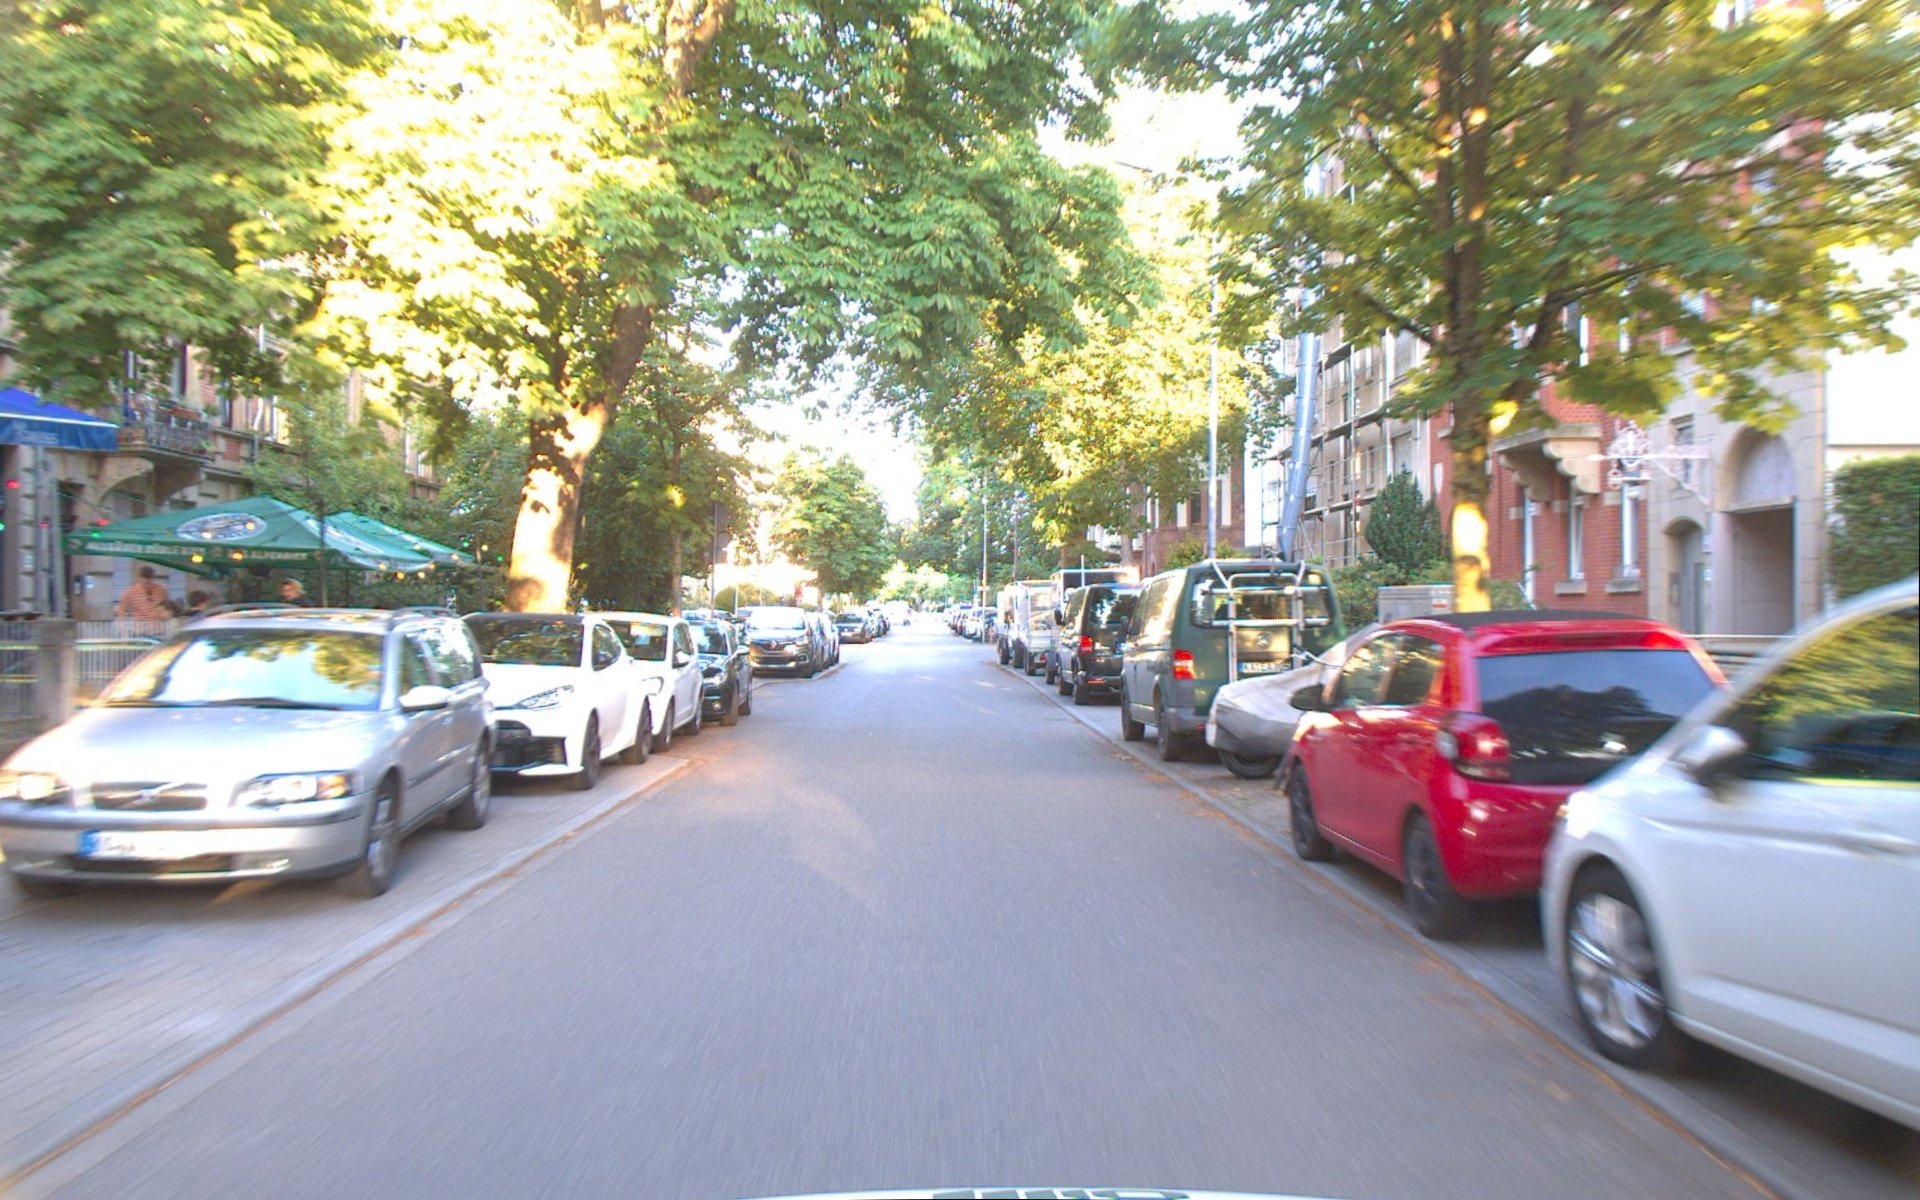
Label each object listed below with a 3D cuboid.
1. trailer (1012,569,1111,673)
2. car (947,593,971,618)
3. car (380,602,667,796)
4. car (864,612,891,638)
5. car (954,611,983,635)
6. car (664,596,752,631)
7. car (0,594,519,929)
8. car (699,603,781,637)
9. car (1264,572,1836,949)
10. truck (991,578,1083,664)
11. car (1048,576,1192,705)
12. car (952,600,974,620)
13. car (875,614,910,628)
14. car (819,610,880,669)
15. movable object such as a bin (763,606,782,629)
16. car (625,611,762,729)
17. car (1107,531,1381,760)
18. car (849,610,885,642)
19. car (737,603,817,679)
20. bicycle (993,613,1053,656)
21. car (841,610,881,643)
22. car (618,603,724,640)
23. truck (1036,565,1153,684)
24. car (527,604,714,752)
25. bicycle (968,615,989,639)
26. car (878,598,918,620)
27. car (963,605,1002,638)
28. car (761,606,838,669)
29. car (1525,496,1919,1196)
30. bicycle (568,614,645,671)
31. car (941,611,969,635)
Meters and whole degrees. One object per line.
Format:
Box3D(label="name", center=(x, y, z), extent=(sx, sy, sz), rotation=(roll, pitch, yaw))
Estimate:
Box3D(label="trailer", center=(2.427, 0.486, 40.554), extent=(1.915, 2.335, 4.643), rotation=(-2, 0, -2))
Box3D(label="car", center=(-0.108, 0.493, 133.982), extent=(1.647, 1.975, 3.877), rotation=(0, -1, -4))
Box3D(label="car", center=(-3.806, 0.791, 15.057), extent=(1.571, 1.460, 3.884), rotation=(3, 0, -1))
Box3D(label="car", center=(-5.341, 1.597, 107.256), extent=(1.681, 1.594, 3.787), rotation=(0, 0, -1))
Box3D(label="car", center=(0.533, 1.439, 105.318), extent=(1.653, 1.466, 4.208), rotation=(-2, 0, -2))
Box3D(label="car", center=(-11.207, 0.577, 73.628), extent=(3.487, 1.472, 1.819), rotation=(1, 1, 7))
Box3D(label="car", center=(-3.888, 0.728, 9.710), extent=(1.805, 1.436, 4.593), rotation=(3, 0, -7))
Box3D(label="car", center=(-11.384, 1.038, 85.750), extent=(4.011, 1.554, 1.708), rotation=(3, -1, -3))
Box3D(label="car", center=(2.855, 0.667, 8.884), extent=(1.630, 1.526, 3.693), rotation=(-2, 0, -1))
Box3D(label="truck", center=(2.119, 0.606, 47.662), extent=(1.938, 2.284, 6.771), rotation=(0, -1, -3))
Box3D(label="car", center=(2.678, 0.638, 28.755), extent=(1.802, 1.976, 4.611), rotation=(-2, 0, -2))
Box3D(label="car", center=(0.245, 0.776, 130.062), extent=(1.508, 1.548, 3.429), rotation=(0, -1, -4))
Box3D(label="car", center=(-7.092, 2.200, 173.260), extent=(3.548, 1.487, 1.605), rotation=(0, 0, -5))
Box3D(label="car", center=(-3.306, 1.133, 48.805), extent=(1.657, 1.528, 4.733), rotation=(3, 0, -5))
Box3D(label="movable object such as a bin", center=(-11.511, 1.084, 101.577), extent=(0.991, 1.344, 1.005), rotation=(2, 0, 3))
Box3D(label="car", center=(-3.738, 0.936, 23.655), extent=(1.520, 1.511, 3.692), rotation=(-1, 0, -3))
Box3D(label="car", center=(2.928, 0.418, 18.181), extent=(1.915, 2.094, 4.828), rotation=(-2, 0, -2))
Box3D(label="car", center=(-5.322, 1.483, 95.120), extent=(1.882, 1.747, 4.426), rotation=(0, 0, -1))
Box3D(label="car", center=(-4.234, 0.912, 38.747), extent=(1.657, 1.591, 4.398), rotation=(3, 0, -5))
Box3D(label="bicycle", center=(2.028, 1.112, 53.192), extent=(1.866, 1.280, 0.406), rotation=(-2, 0, -7))
Box3D(label="car", center=(-4.672, 1.261, 78.735), extent=(1.583, 1.496, 3.961), rotation=(0, 0, 1))
Box3D(label="car", center=(-11.951, 0.882, 68.459), extent=(4.005, 1.472, 1.710), rotation=(1, 1, 7))
Box3D(label="truck", center=(2.783, 0.468, 35.156), extent=(1.915, 2.285, 4.643), rotation=(-2, 0, -1))
Box3D(label="car", center=(-3.920, 0.843, 19.615), extent=(1.520, 1.511, 3.692), rotation=(3, 0, -2))
Box3D(label="bicycle", center=(0.922, 1.317, 81.014), extent=(0.434, 1.193, 1.635), rotation=(0, -1, 23))
Box3D(label="car", center=(-6.638, 0.971, 176.186), extent=(4.263, 2.359, 1.744), rotation=(0, 0, -3))
Box3D(label="car", center=(1.198, 1.191, 90.035), extent=(1.762, 1.741, 4.597), rotation=(0, -1, -4))
Box3D(label="car", center=(-4.183, 0.975, 43.670), extent=(1.655, 1.528, 4.401), rotation=(2, -1, -1))
Box3D(label="car", center=(3.140, 0.567, 4.016), extent=(1.633, 1.708, 4.112), rotation=(-3, 0, -8))
Box3D(label="bicycle", center=(-8.341, 0.983, 39.103), extent=(0.593, 1.307, 2.486), rotation=(-1, 0, 18))
Box3D(label="car", center=(-0.356, 1.579, 113.524), extent=(1.653, 1.634, 3.936), rotation=(0, -1, -4))
